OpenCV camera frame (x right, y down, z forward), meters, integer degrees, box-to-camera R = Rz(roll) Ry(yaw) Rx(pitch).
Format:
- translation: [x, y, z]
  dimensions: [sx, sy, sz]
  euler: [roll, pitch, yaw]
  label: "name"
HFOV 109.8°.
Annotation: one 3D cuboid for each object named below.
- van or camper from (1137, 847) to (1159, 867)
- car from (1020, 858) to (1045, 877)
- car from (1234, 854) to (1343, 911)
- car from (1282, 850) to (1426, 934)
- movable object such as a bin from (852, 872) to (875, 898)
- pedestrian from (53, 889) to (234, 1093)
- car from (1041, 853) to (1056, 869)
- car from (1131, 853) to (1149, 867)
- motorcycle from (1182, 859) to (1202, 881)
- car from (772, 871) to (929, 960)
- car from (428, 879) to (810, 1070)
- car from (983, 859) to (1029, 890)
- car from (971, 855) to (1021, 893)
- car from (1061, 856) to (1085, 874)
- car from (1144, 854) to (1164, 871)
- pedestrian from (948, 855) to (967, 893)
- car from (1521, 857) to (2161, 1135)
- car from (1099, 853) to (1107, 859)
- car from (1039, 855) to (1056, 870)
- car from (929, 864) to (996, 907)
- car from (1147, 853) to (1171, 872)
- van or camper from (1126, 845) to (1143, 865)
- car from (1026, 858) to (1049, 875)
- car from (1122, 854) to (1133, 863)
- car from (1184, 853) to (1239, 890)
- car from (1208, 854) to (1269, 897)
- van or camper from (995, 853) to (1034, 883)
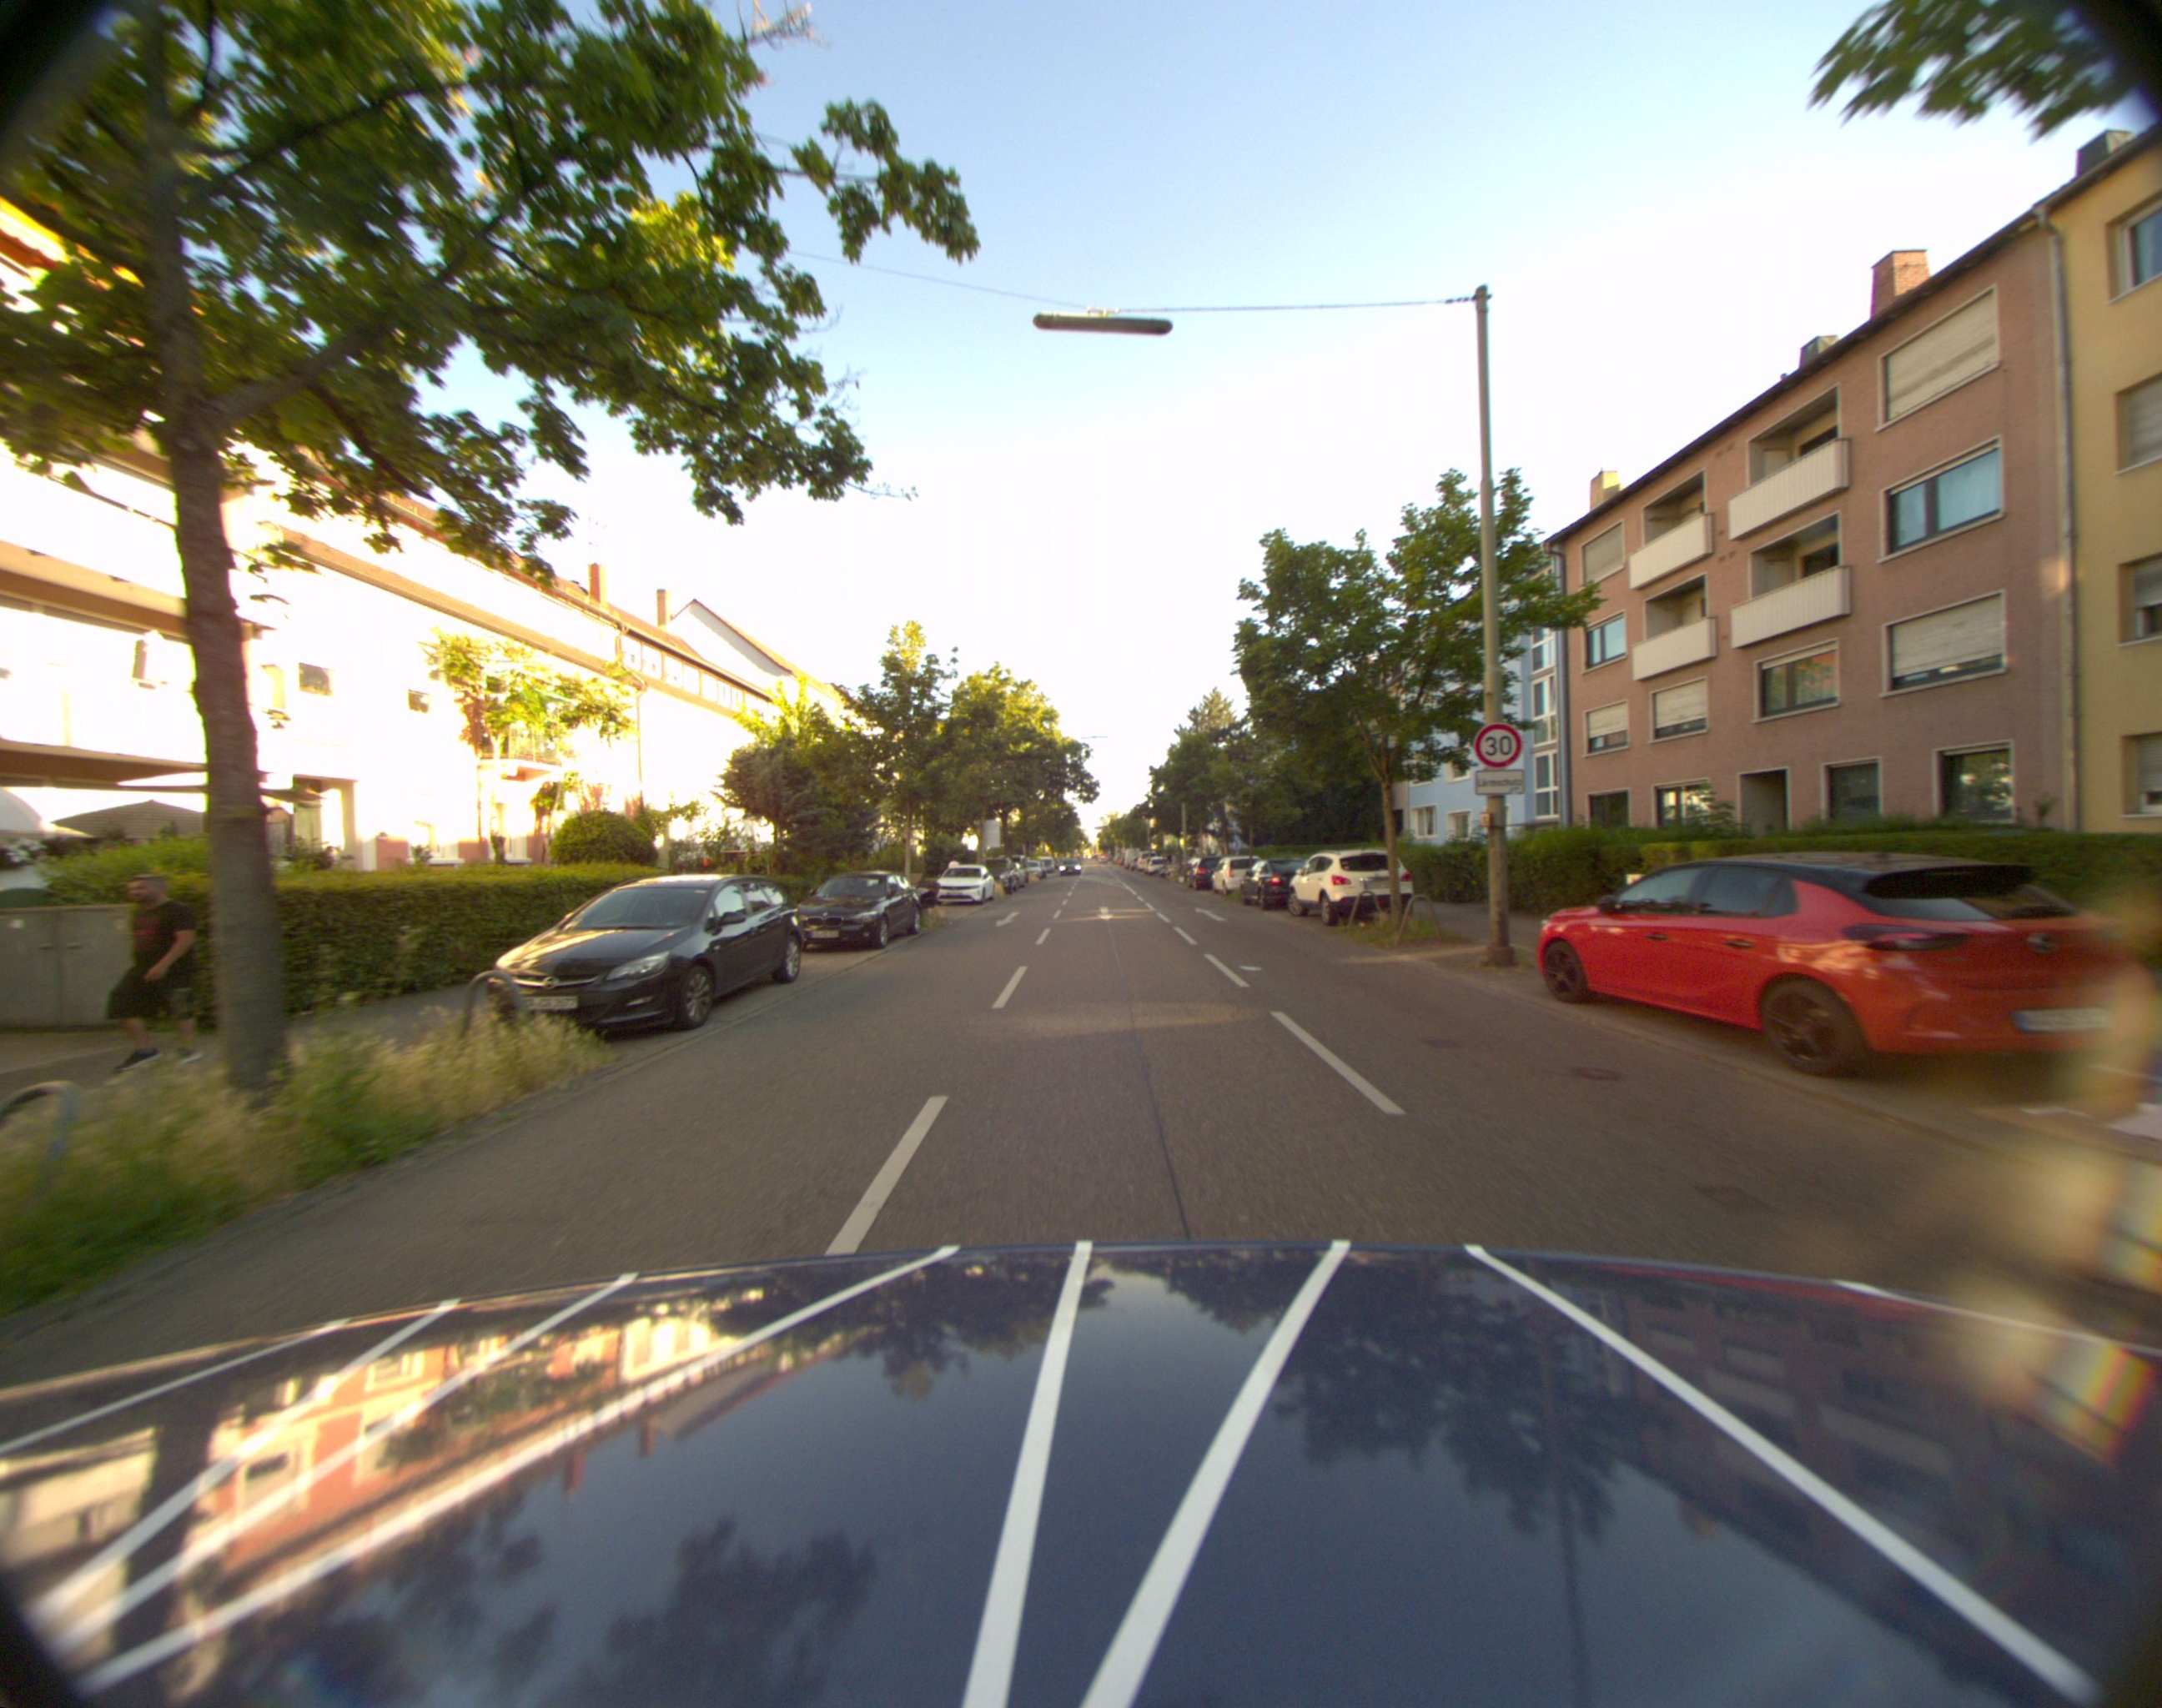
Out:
- translation: [6.895, 0.312, 78.510]
  dimensions: [1.809, 2.002, 4.864]
  euler: [-2, 0, 0]
  label: "van or camper"
- translation: [-3.777, 1.022, 59.888]
  dimensions: [1.738, 1.435, 4.304]
  euler: [-1, 0, 0]
  label: "car"
- translation: [5.976, 0.764, 22.436]
  dimensions: [1.998, 1.439, 4.458]
  euler: [-1, 0, 0]
  label: "car"
- translation: [5.974, 0.751, 17.177]
  dimensions: [1.781, 1.579, 4.186]
  euler: [-3, 0, 1]
  label: "car"
- translation: [-9.124, 1.281, 31.847]
  dimensions: [0.727, 1.052, 0.684]
  euler: [2, 1, 0]
  label: "movable object such as a bin"
- translation: [-7.902, 1.122, 6.433]
  dimensions: [0.748, 1.606, 0.579]
  euler: [-2, 1, -1]
  label: "pedestrian"
- translation: [-3.784, 0.787, 88.952]
  dimensions: [1.798, 1.761, 3.999]
  euler: [0, 0, -2]
  label: "car"
- translation: [6.769, 0.713, 87.224]
  dimensions: [1.808, 1.489, 3.957]
  euler: [-2, 0, 2]
  label: "car"
- translation: [6.073, 0.864, 41.535]
  dimensions: [0.640, 1.129, 2.172]
  euler: [-4, 0, -2]
  label: "motorcycle"
- translation: [-4.475, 1.127, 15.529]
  dimensions: [1.774, 1.440, 4.484]
  euler: [-1, 0, 1]
  label: "car"
- translation: [-4.745, 1.104, 8.726]
  dimensions: [1.721, 1.463, 4.431]
  euler: [-1, 0, -1]
  label: "car"
- translation: [-4.016, 1.066, 41.643]
  dimensions: [1.788, 1.495, 4.831]
  euler: [-2, 0, 3]
  label: "car"
- translation: [-4.029, 0.911, 36.699]
  dimensions: [1.921, 1.672, 4.707]
  euler: [0, 0, 0]
  label: "car"
- translation: [-0.726, 0.952, 69.521]
  dimensions: [1.999, 1.525, 4.000]
  euler: [-2, 0, 0]
  label: "car"
- translation: [6.509, 0.759, 68.262]
  dimensions: [1.577, 1.460, 3.491]
  euler: [-3, 0, 3]
  label: "car"
- translation: [-6.021, 0.955, 37.052]
  dimensions: [0.669, 1.773, 0.764]
  euler: [-5, 3, 1]
  label: "pedestrian"
- translation: [5.550, 0.789, 6.129]
  dimensions: [1.721, 1.443, 3.923]
  euler: [-3, 0, 1]
  label: "car"
- translation: [5.230, 0.504, 178.597]
  dimensions: [1.726, 1.473, 3.956]
  euler: [-1, 0, 0]
  label: "car"
- translation: [-3.659, 0.915, 83.561]
  dimensions: [1.798, 1.577, 3.999]
  euler: [0, 0, -2]
  label: "car"
- translation: [-4.350, 1.115, 28.551]
  dimensions: [1.766, 1.394, 4.333]
  euler: [-1, 0, 1]
  label: "car"
- translation: [6.447, 0.681, 63.207]
  dimensions: [1.684, 1.434, 3.882]
  euler: [-3, 0, 3]
  label: "car"
- translation: [7.124, 0.078, 101.117]
  dimensions: [1.917, 2.528, 5.335]
  euler: [-2, 0, 1]
  label: "van or camper"
- translation: [-3.668, 1.047, 65.188]
  dimensions: [1.738, 1.435, 4.339]
  euler: [-1, 0, 0]
  label: "car"
- translation: [7.807, 0.678, 127.284]
  dimensions: [1.762, 1.439, 3.786]
  euler: [-2, 0, 5]
  label: "car"
- translation: [5.898, 0.761, 34.842]
  dimensions: [1.842, 1.508, 4.316]
  euler: [-3, 0, 2]
  label: "car"
- translation: [6.091, 0.778, 29.704]
  dimensions: [1.595, 1.483, 3.641]
  euler: [-2, 1, 0]
  label: "car"
- translation: [-4.364, 0.936, 50.831]
  dimensions: [1.998, 1.831, 5.260]
  euler: [-2, -1, 1]
  label: "van or camper"
